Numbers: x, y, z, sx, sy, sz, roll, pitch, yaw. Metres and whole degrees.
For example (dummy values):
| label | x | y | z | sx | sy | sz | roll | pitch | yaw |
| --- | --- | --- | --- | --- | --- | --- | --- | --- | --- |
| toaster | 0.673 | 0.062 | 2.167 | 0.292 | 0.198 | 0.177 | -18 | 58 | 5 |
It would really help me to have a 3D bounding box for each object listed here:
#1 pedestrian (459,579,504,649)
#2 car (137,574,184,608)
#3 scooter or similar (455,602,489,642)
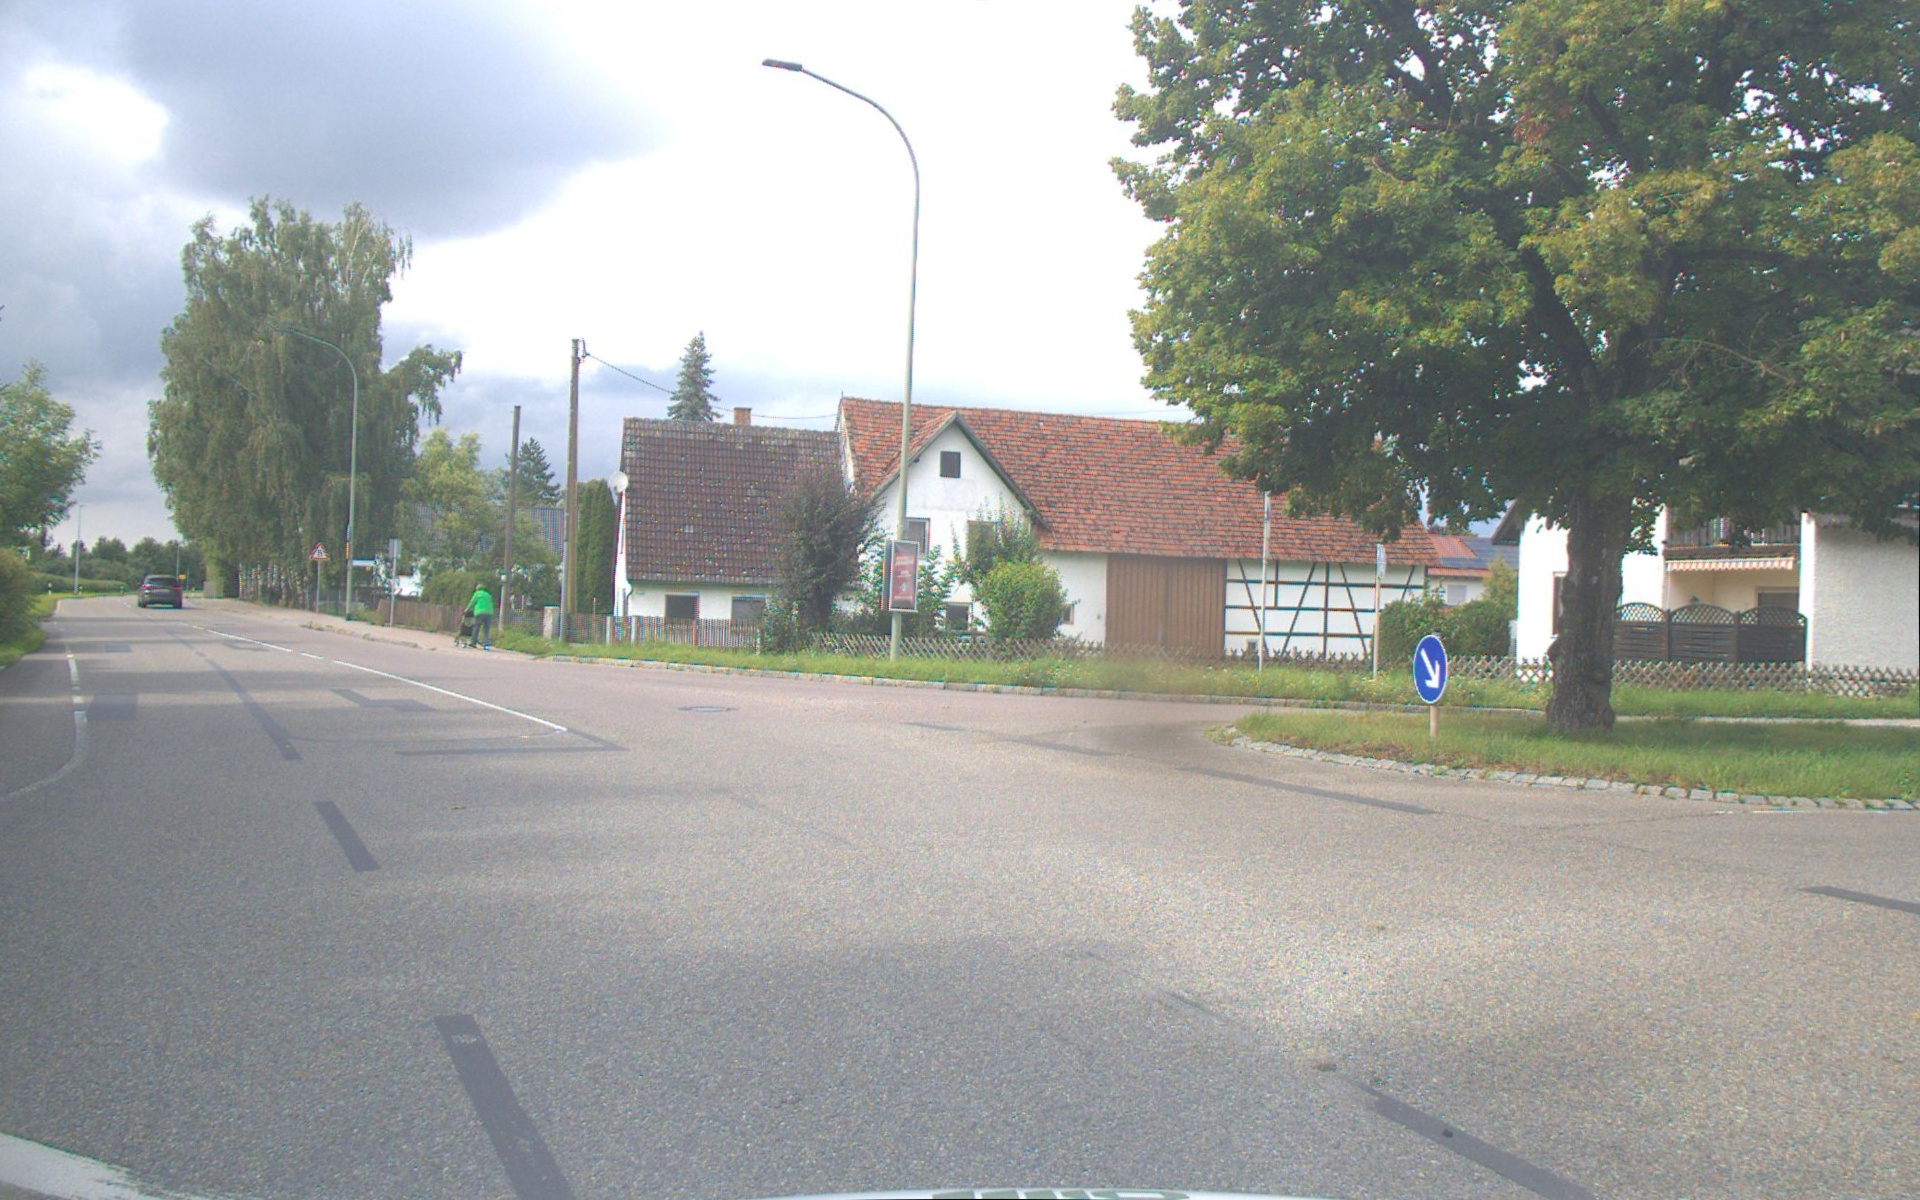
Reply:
| label | x | y | z | sx | sy | sz | roll | pitch | yaw |
| --- | --- | --- | --- | --- | --- | --- | --- | --- | --- |
| pedestrian | -12.298 | 0.361 | 42.522 | 0.781 | 1.694 | 0.704 | 7 | -3 | -33 |
| car | -39.201 | -0.455 | 81.161 | 1.968 | 1.579 | 3.968 | 2 | 0 | -25 |
| scooter or similar | -12.694 | 0.565 | 43.029 | 0.625 | 0.964 | 0.615 | 7 | -3 | -33 |
